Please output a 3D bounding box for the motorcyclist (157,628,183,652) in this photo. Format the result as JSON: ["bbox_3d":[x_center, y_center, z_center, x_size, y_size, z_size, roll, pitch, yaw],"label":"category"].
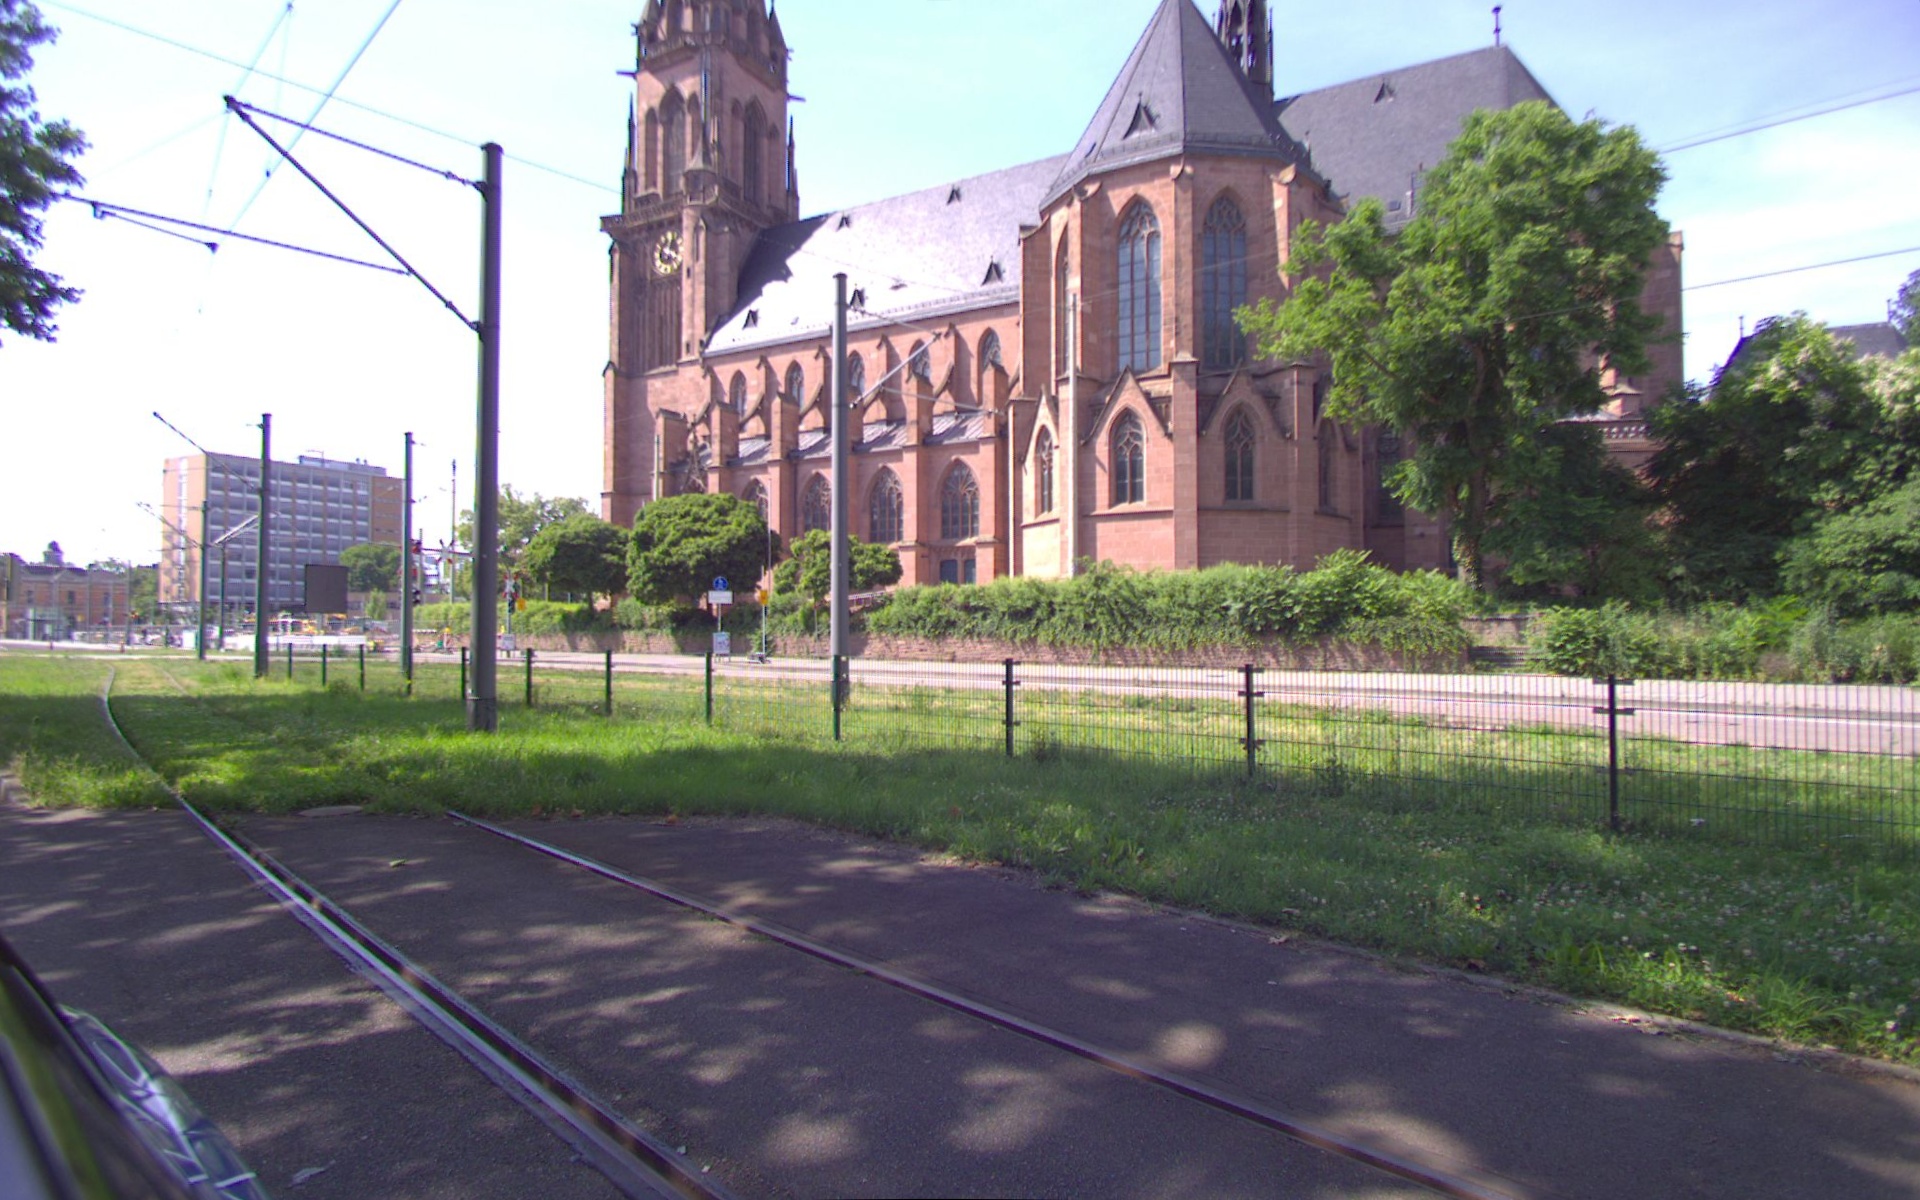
[{"bbox_3d":[-64.871,3.264,83.117,1.100,1.945,1.324,-1,-2,21],"label":"motorcyclist"}]

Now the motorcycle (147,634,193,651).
[{"bbox_3d":[-64.877,3.492,83.114,3.911,1.349,1.236,-1,-2,22],"label":"motorcycle"}]

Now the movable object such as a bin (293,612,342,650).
[{"bbox_3d":[-67.104,3.241,105.759,2.904,3.911,3.327,0,-2,8],"label":"movable object such as a bin"}]
